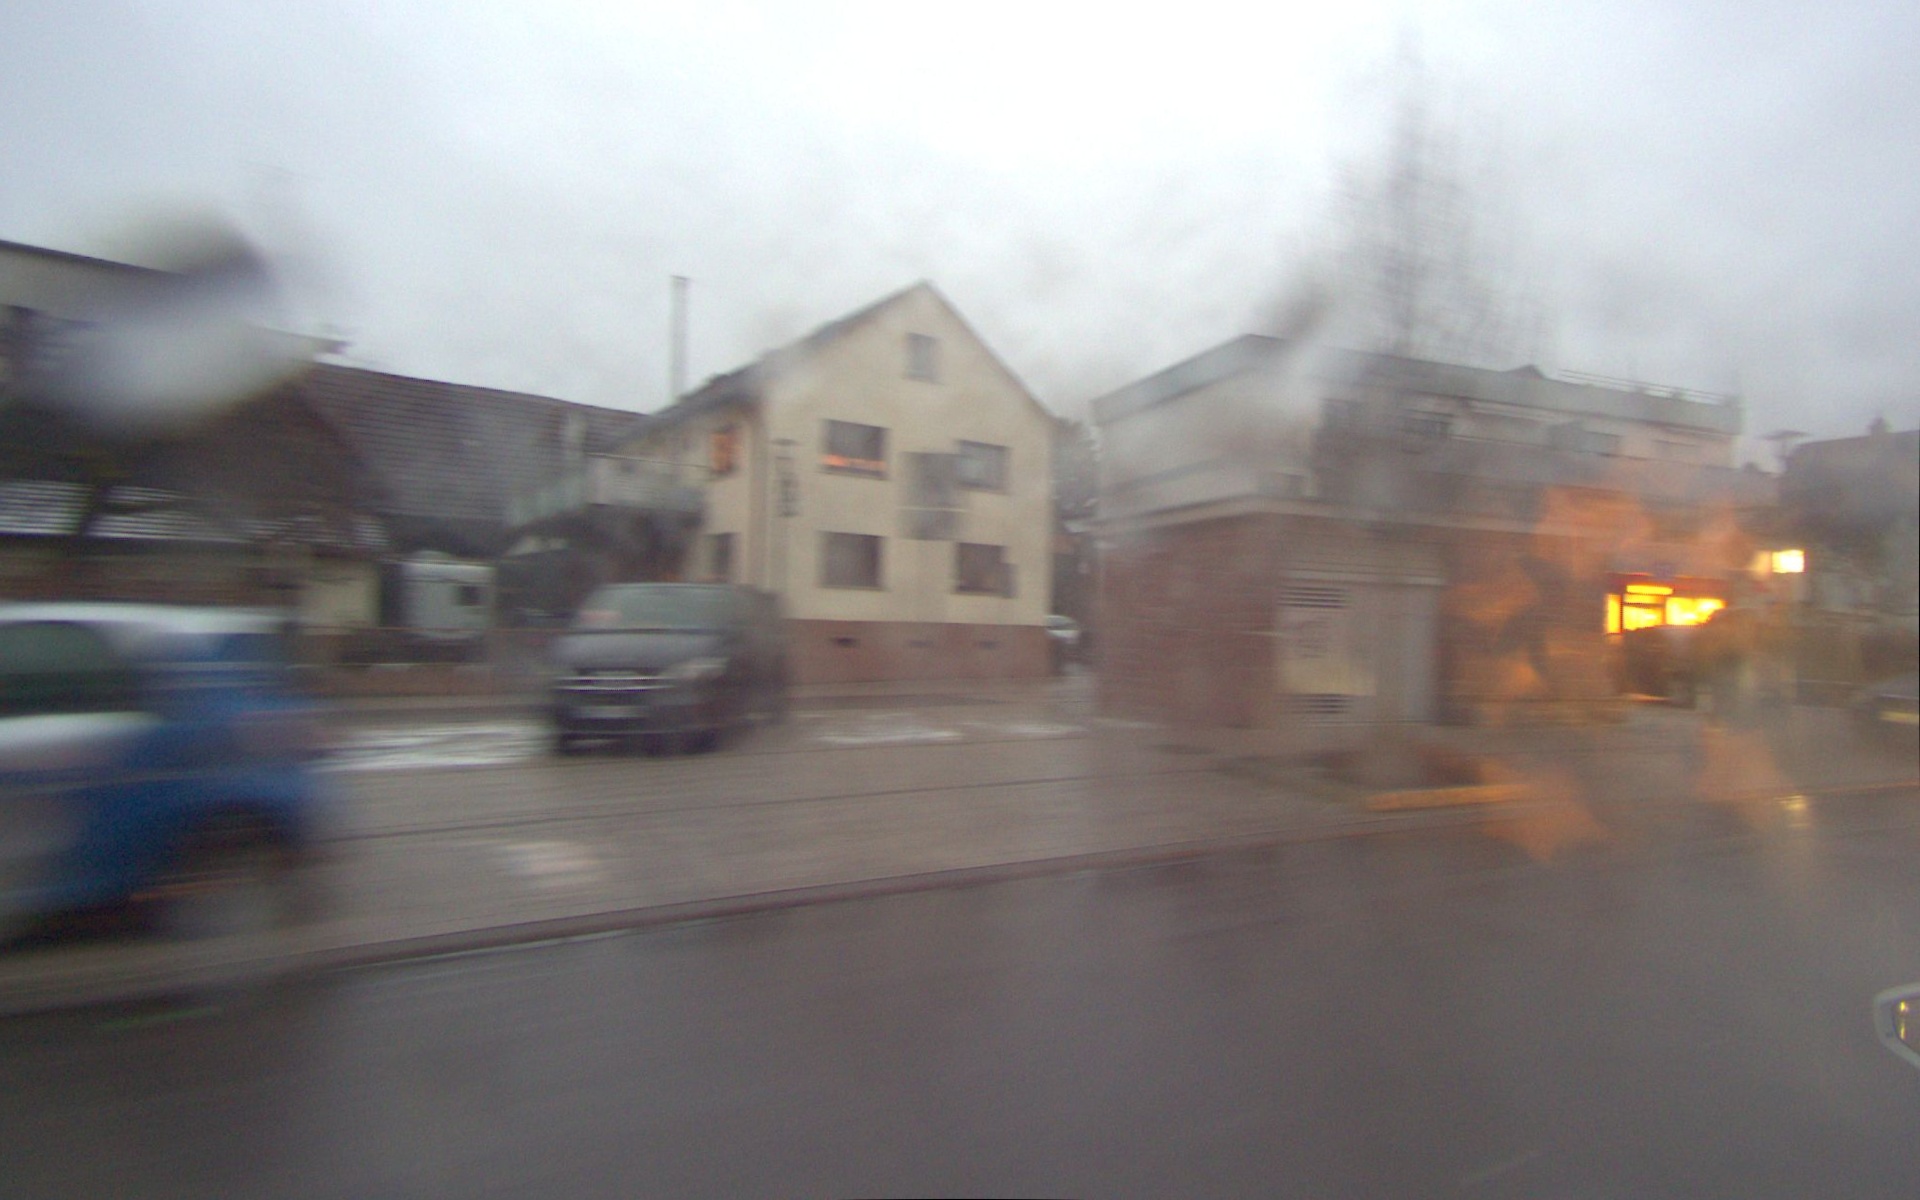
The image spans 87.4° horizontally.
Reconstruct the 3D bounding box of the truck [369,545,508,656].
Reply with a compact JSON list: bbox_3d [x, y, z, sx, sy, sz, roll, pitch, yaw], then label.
[{"bbox_3d":[-15.800,0.021,30.245,2.759,2.991,5.797,2,0,-37],"label":"truck"}]

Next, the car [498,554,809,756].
[{"bbox_3d":[-3.307,0.626,12.219,2.033,1.910,5.399,0,-2,1],"label":"car"}]

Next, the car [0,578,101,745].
[{"bbox_3d":[-9.852,0.545,8.387,1.961,1.550,3.999,1,-1,-2],"label":"car"}]

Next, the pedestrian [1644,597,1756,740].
[{"bbox_3d":[10.168,0.927,13.811,1.043,1.891,0.754,1,-1,-14],"label":"pedestrian"}]

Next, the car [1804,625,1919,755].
[{"bbox_3d":[13.285,1.126,12.802,4.386,1.492,1.746,1,0,-17],"label":"car"}]

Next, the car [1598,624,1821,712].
[{"bbox_3d":[14.222,1.257,19.383,1.704,1.496,4.092,0,-2,9],"label":"car"}]

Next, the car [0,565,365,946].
[{"bbox_3d":[-4.856,0.618,4.564,3.636,1.556,1.823,2,-1,-33],"label":"car"}]
